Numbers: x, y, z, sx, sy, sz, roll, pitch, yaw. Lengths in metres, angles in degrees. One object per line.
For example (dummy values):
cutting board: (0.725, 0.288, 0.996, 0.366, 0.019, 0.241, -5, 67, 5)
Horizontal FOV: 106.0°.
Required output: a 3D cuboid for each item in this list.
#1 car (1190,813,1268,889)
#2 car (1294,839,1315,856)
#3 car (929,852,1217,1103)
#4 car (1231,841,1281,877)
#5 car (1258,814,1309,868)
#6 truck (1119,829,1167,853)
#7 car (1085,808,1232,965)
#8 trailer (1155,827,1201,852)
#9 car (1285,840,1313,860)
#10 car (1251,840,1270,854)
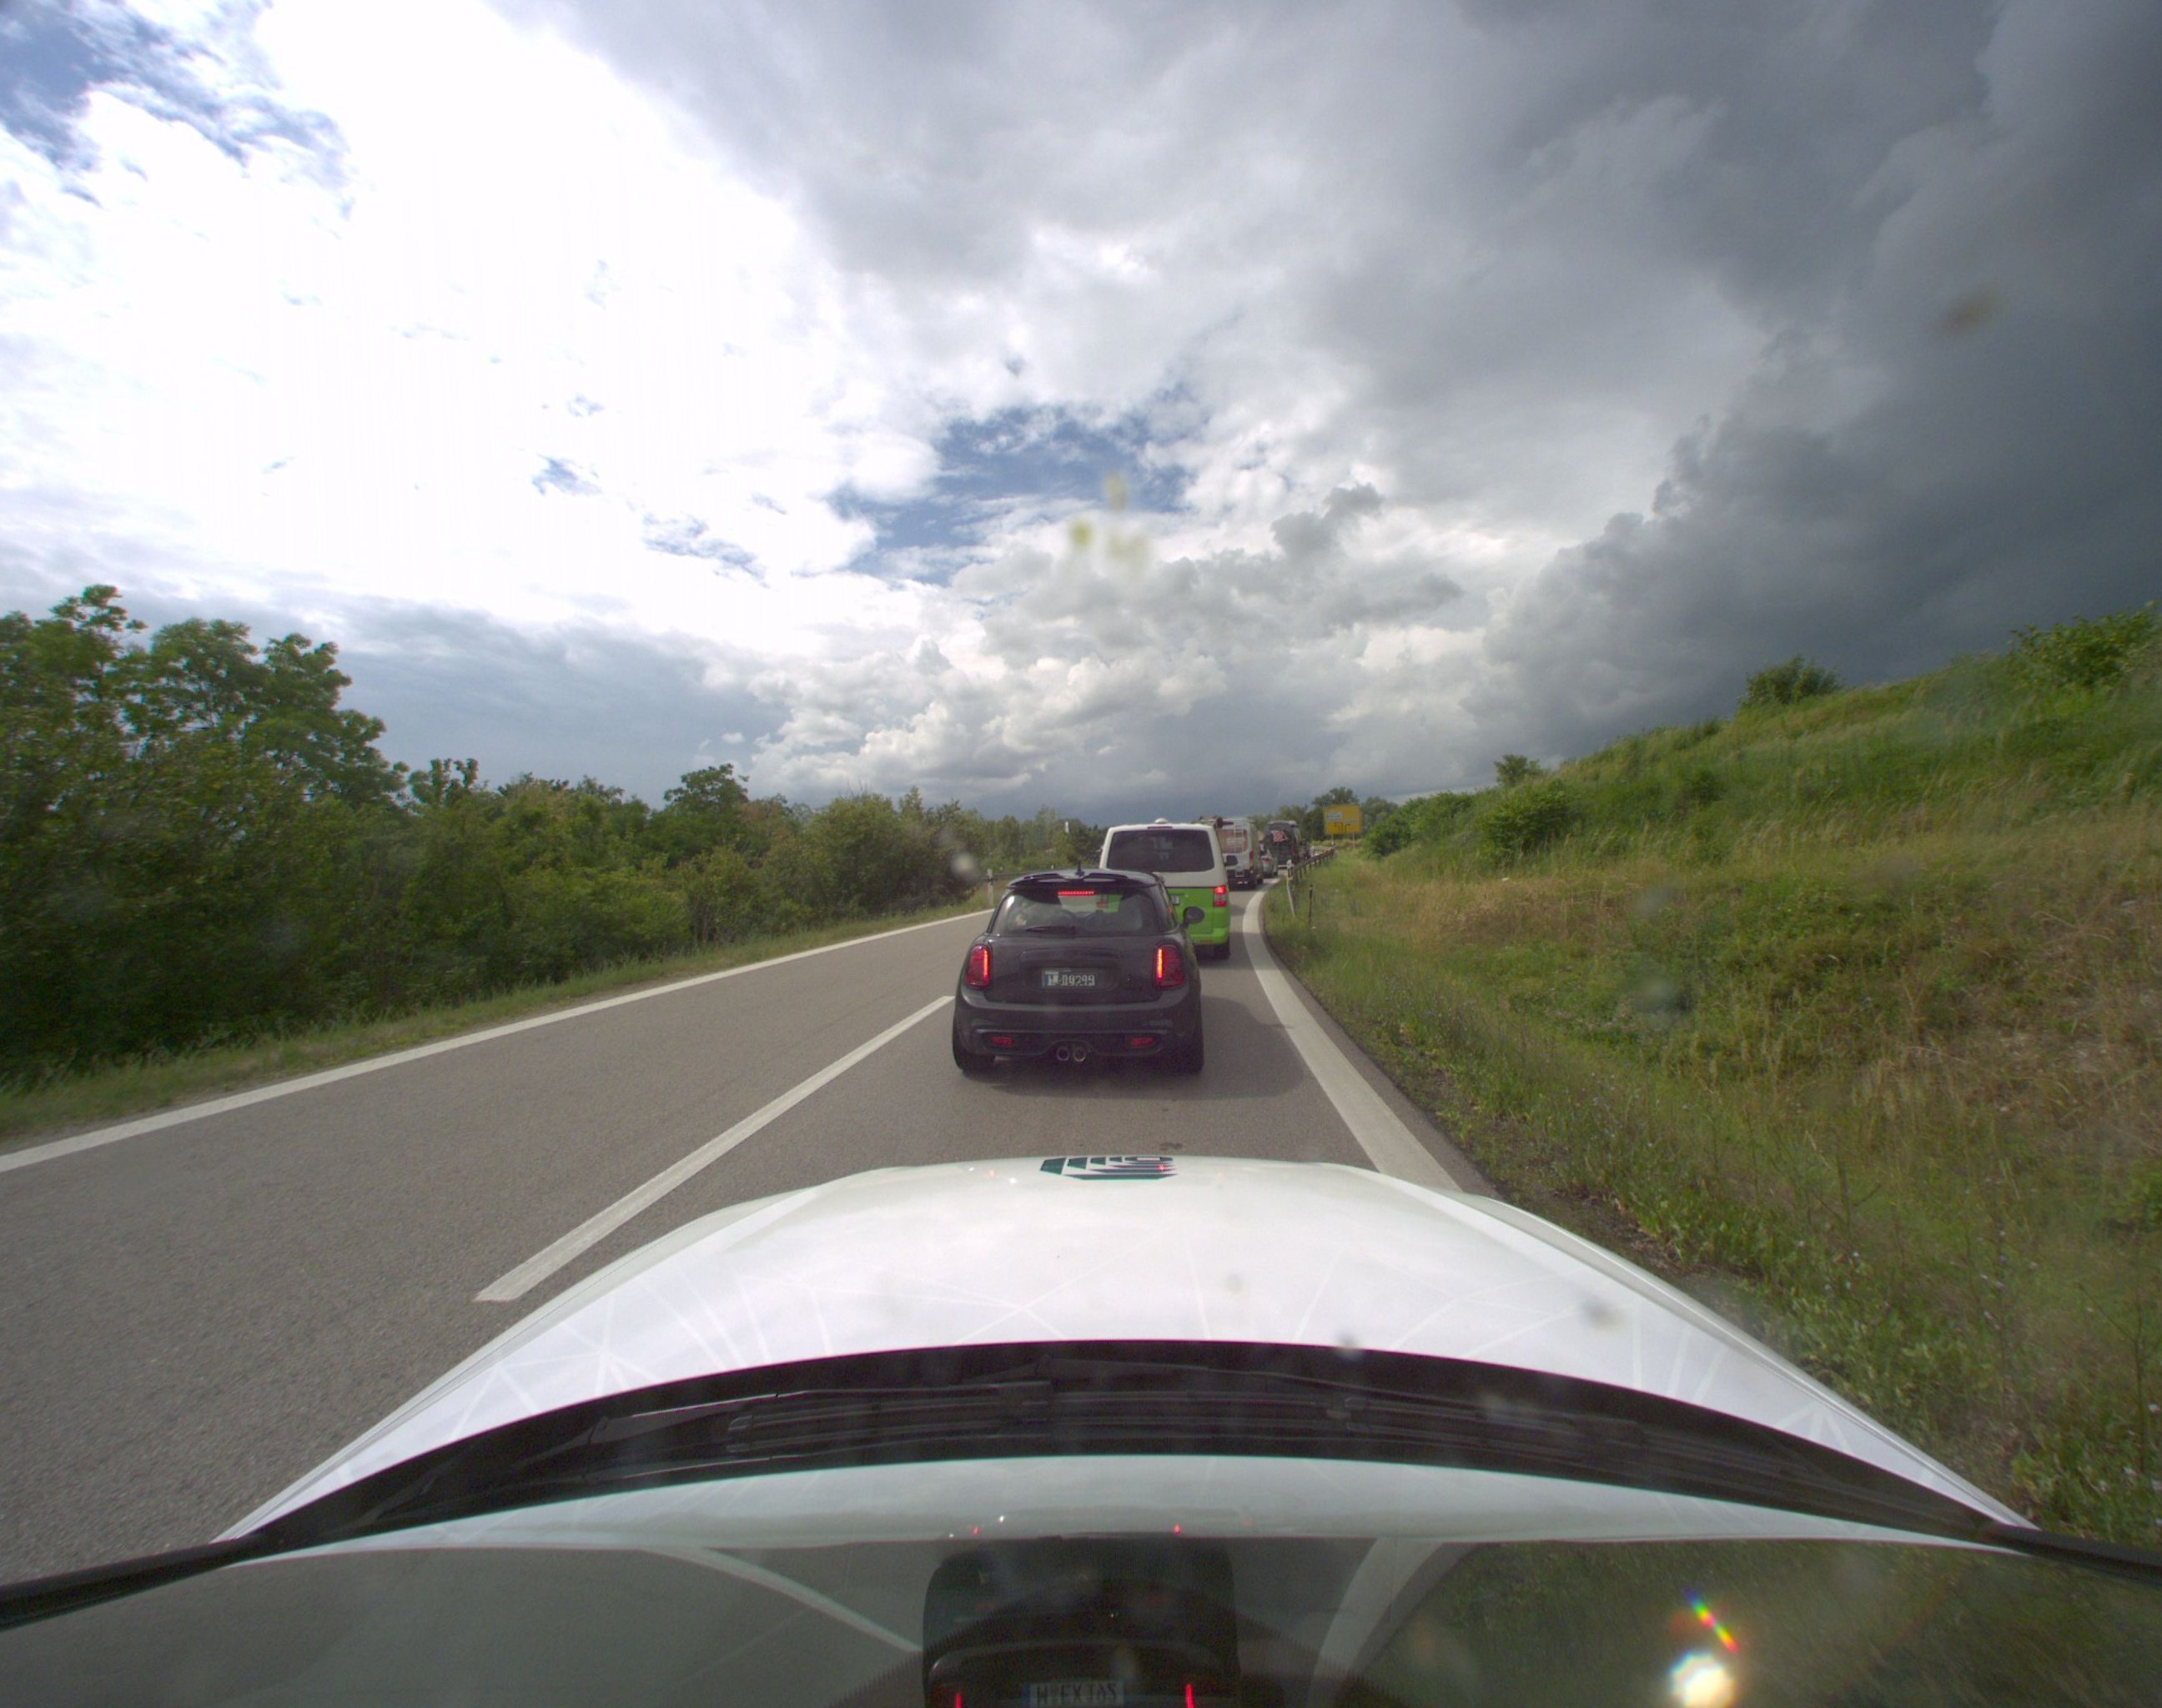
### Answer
car: (5.704, -0.080, 30.843, 2.194, 2.622, 5.559, -1, -1, 18)
car: (25.104, -0.697, 91.549, 2.080, 1.883, 4.511, -1, -1, 13)
car: (0.133, 0.772, 6.983, 1.790, 1.546, 3.745, -1, 0, 6)
car: (8.504, 0.250, 39.307, 1.978, 1.642, 3.946, -1, -1, 17)
car: (12.622, -0.724, 50.470, 2.291, 3.069, 6.696, -1, -1, 21)
truck: (10.882, -2.218, 143.397, 2.857, 3.976, 9.922, 0, -1, -35)
car: (1.386, 0.439, 12.779, 1.899, 2.045, 4.193, -1, 0, 10)
trailer: (16.074, -2.320, 135.700, 3.055, 3.898, 8.688, 0, -1, -30)
car: (18.607, -0.319, 69.419, 1.877, 1.588, 4.518, -1, -1, 20)
car: (24.925, -0.909, 113.297, 2.084, 1.883, 4.504, 0, -1, 7)
